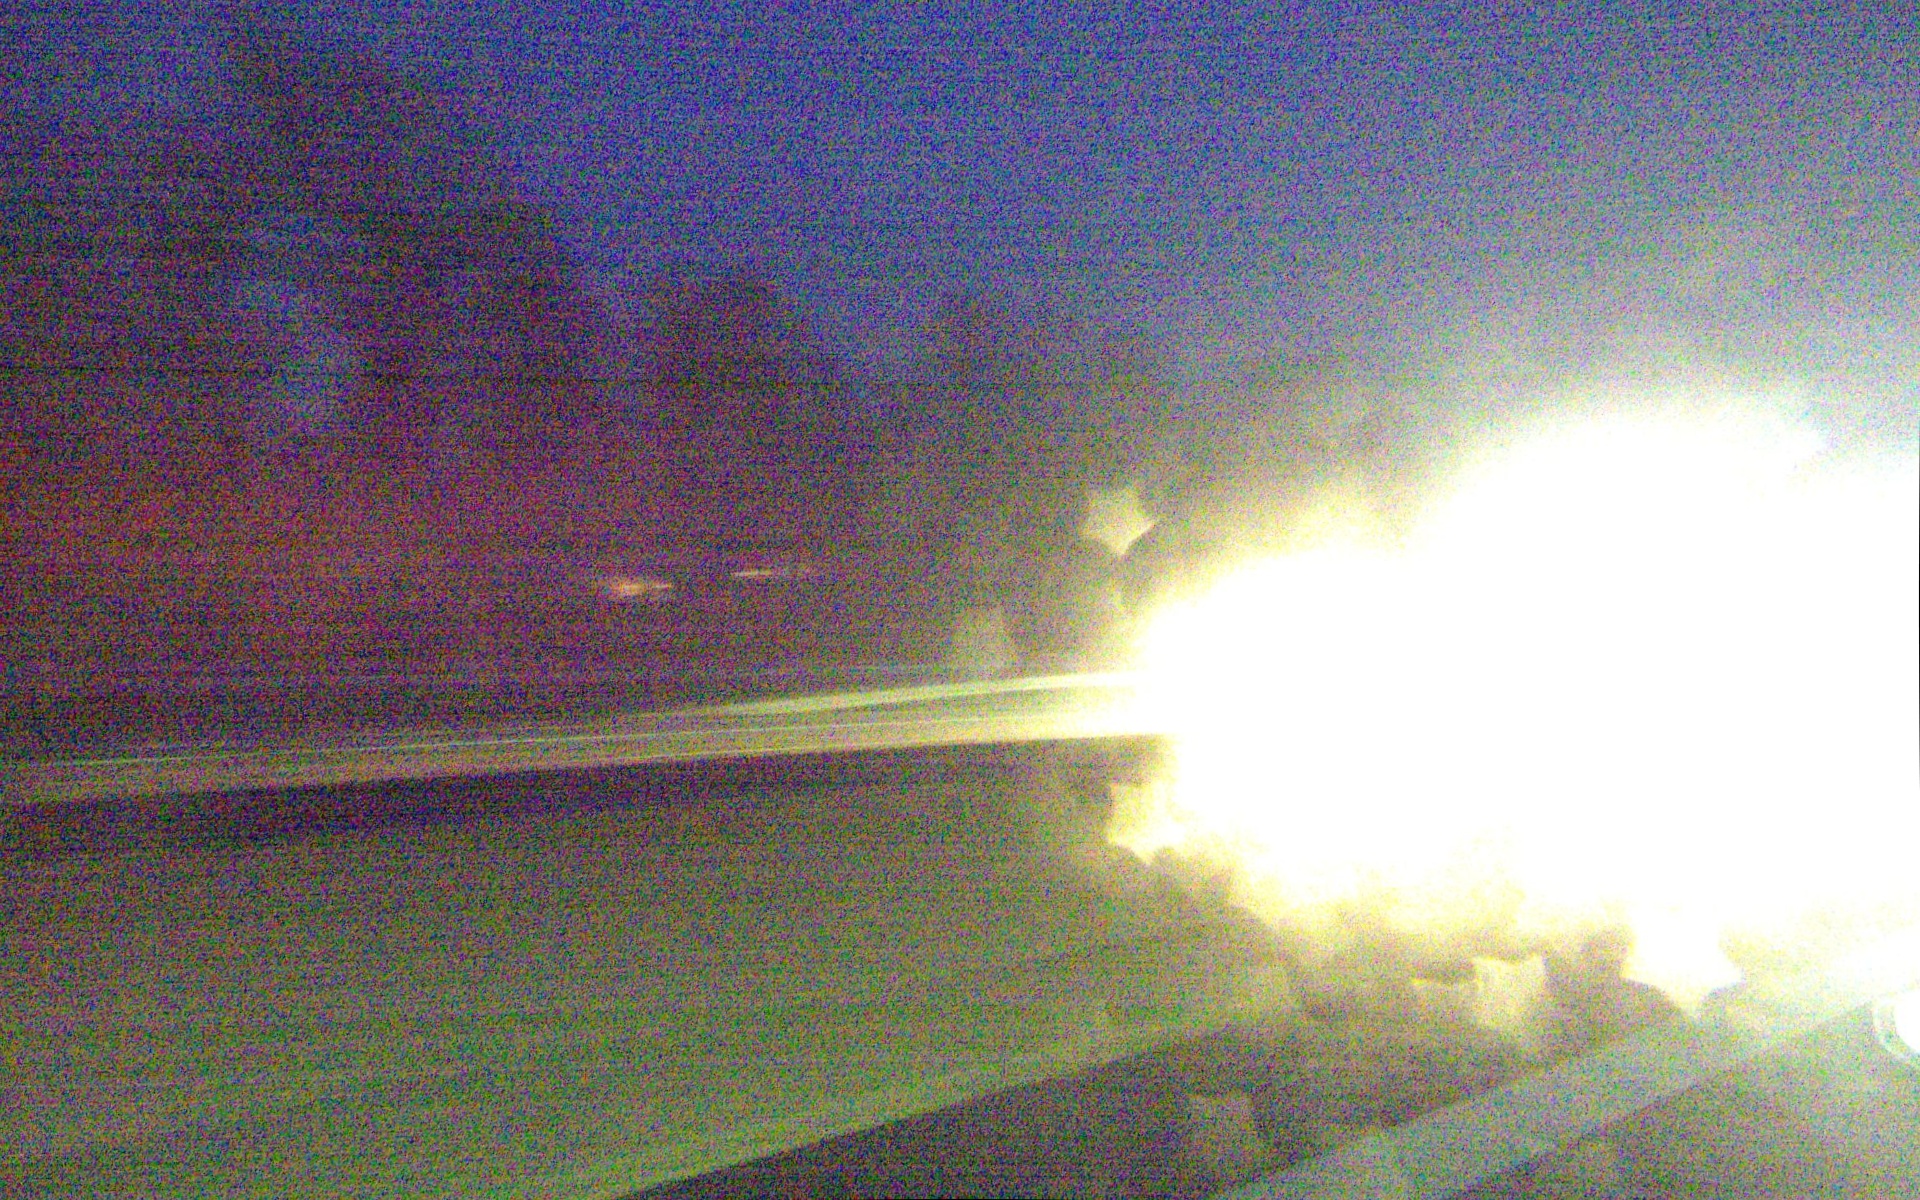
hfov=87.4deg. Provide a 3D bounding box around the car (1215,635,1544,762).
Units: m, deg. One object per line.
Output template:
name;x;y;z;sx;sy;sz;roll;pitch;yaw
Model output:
car;5.358;1.138;12.730;4.067;1.380;1.747;1;-2;-30

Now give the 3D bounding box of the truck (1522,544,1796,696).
truck;23.266;0.797;33.124;11.302;4.383;2.917;2;-3;-30

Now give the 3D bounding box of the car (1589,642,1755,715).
car;16.767;1.774;23.620;4.070;1.545;1.745;1;-2;-32

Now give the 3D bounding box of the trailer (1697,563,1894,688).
trailer;31.950;1.051;38.299;8.833;4.333;2.926;2;-3;-31
